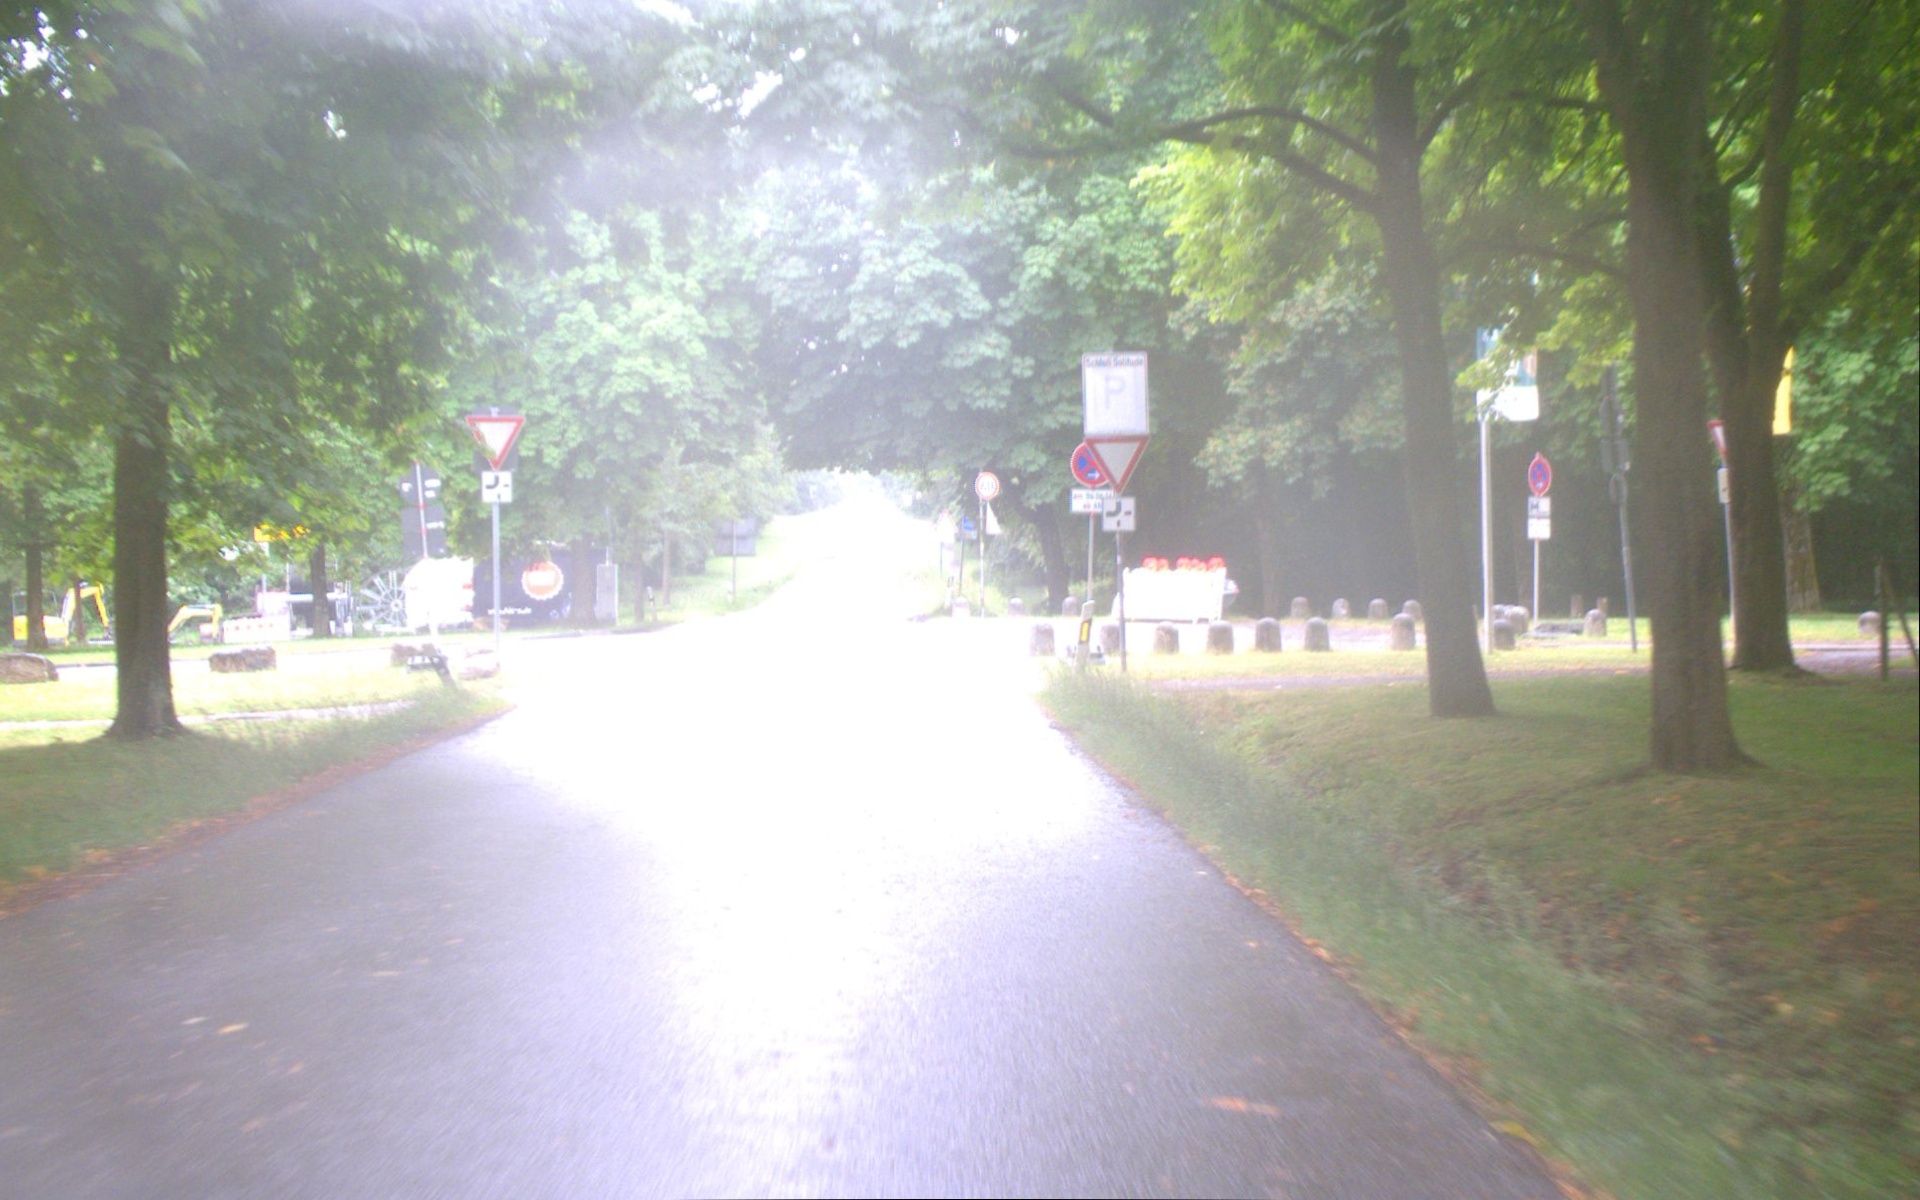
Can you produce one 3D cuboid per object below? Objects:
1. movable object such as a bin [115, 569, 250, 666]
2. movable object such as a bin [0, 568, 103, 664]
[{"bbox_3d":[-28.015,0.625,123.966,4.580,3.283,3.667,-2,0,-12],"label":"movable object such as a bin"},{"bbox_3d":[-32.991,0.580,122.243,4.653,3.283,3.914,-2,0,-12],"label":"movable object such as a bin"}]
